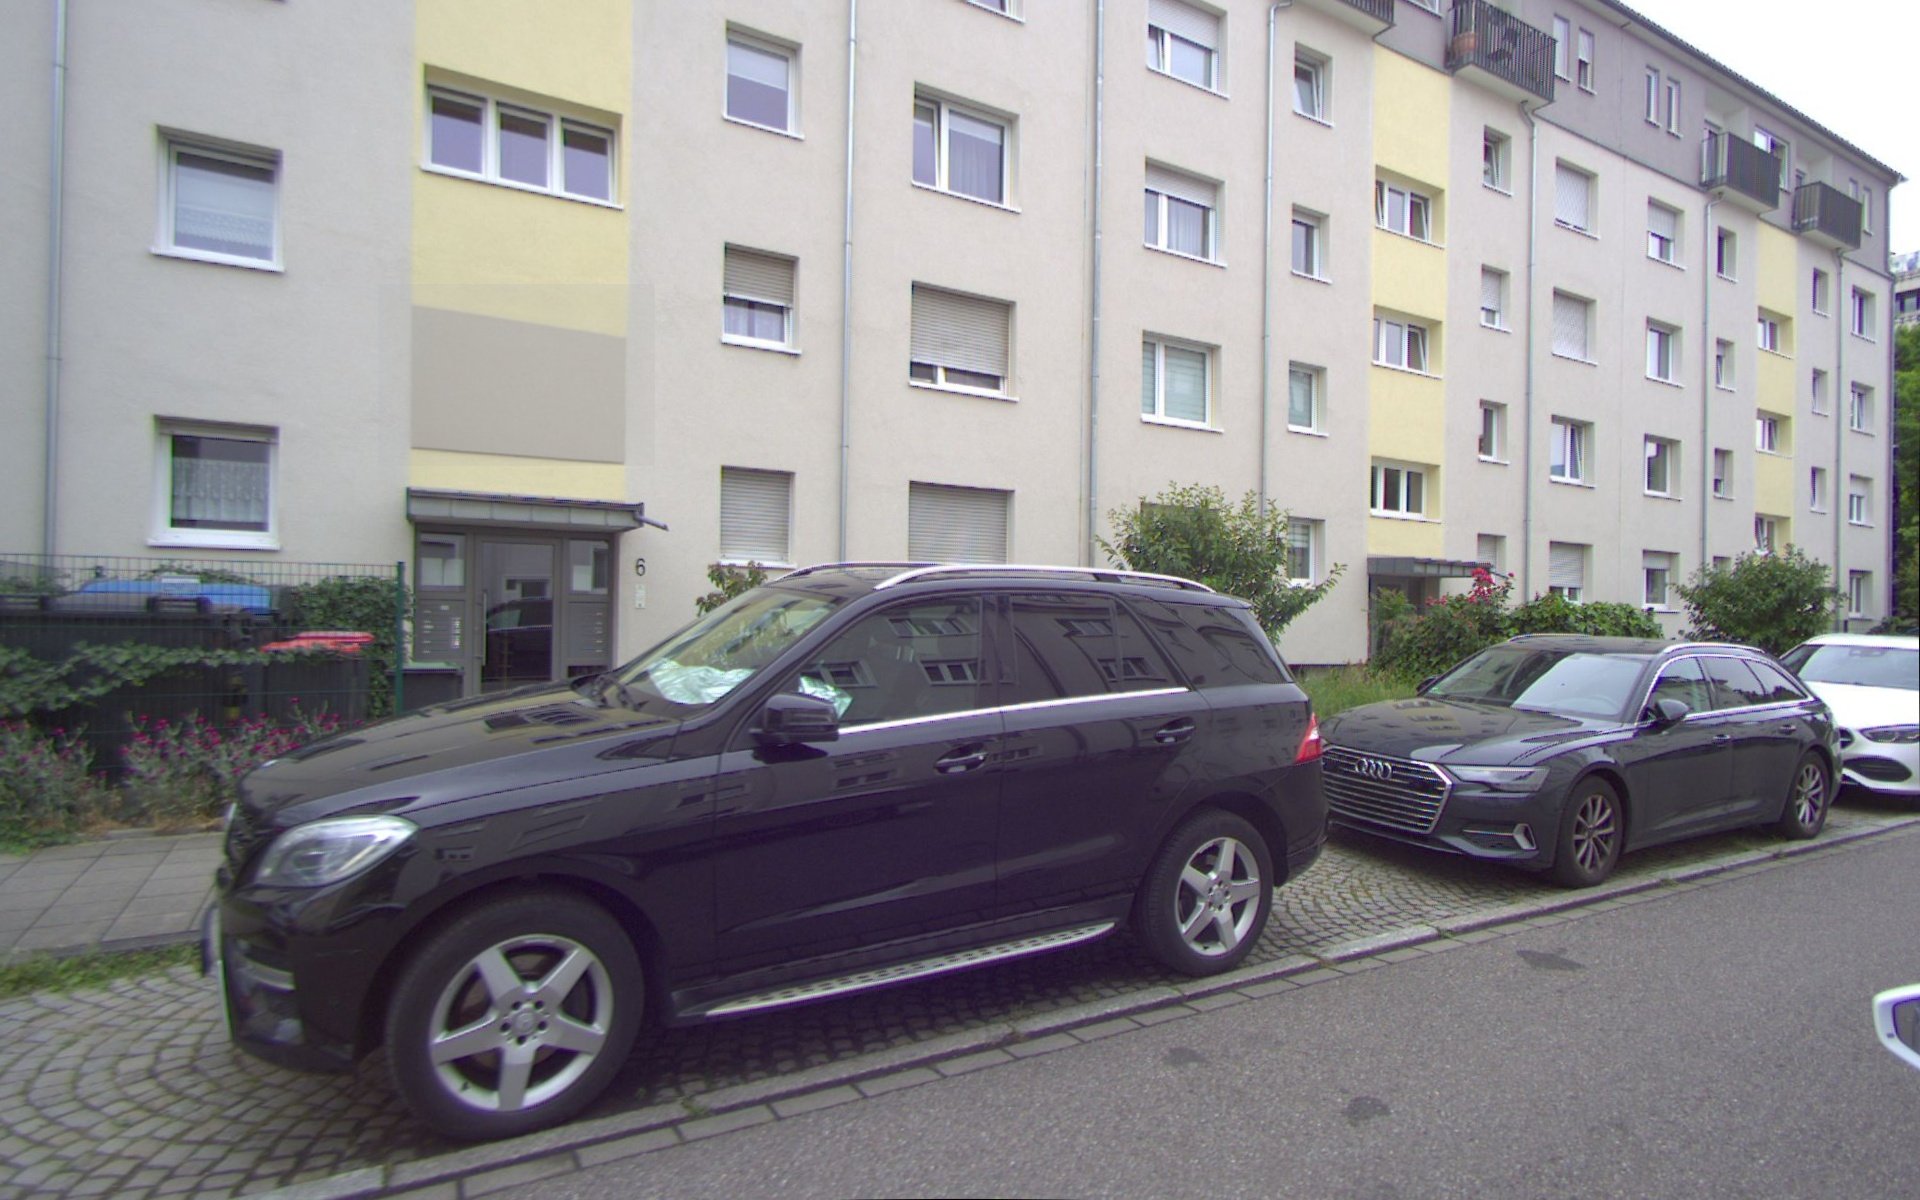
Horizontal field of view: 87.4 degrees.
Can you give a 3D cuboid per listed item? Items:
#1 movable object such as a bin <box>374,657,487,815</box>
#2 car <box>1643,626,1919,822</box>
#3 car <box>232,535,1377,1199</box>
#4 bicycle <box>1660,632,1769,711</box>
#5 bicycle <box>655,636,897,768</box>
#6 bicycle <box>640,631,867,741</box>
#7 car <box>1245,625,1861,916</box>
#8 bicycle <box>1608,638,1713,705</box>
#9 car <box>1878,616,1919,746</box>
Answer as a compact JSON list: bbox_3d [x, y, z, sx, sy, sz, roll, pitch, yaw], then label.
[{"bbox_3d":[-3.541,0.878,6.718,0.628,0.967,0.548,1,-2,-30],"label":"movable object such as a bin"},{"bbox_3d":[9.040,1.062,10.034,4.468,1.472,1.886,1,1,-30],"label":"car"},{"bbox_3d":[-0.407,0.725,4.514,4.422,1.763,1.886,1,1,-30],"label":"car"},{"bbox_3d":[12.666,1.161,16.849,2.066,1.227,0.728,1,0,-31],"label":"bicycle"},{"bbox_3d":[-1.854,0.985,10.309,2.327,1.201,0.785,1,-1,-30],"label":"bicycle"},{"bbox_3d":[-2.248,0.895,11.058,2.327,1.095,0.785,1,-1,-30],"label":"bicycle"},{"bbox_3d":[4.481,0.988,7.421,4.611,1.472,1.886,1,1,-30],"label":"car"},{"bbox_3d":[12.357,1.233,17.697,2.066,1.092,0.728,1,0,-31],"label":"bicycle"},{"bbox_3d":[14.299,1.092,13.290,4.468,1.620,1.886,1,1,-30],"label":"car"}]
